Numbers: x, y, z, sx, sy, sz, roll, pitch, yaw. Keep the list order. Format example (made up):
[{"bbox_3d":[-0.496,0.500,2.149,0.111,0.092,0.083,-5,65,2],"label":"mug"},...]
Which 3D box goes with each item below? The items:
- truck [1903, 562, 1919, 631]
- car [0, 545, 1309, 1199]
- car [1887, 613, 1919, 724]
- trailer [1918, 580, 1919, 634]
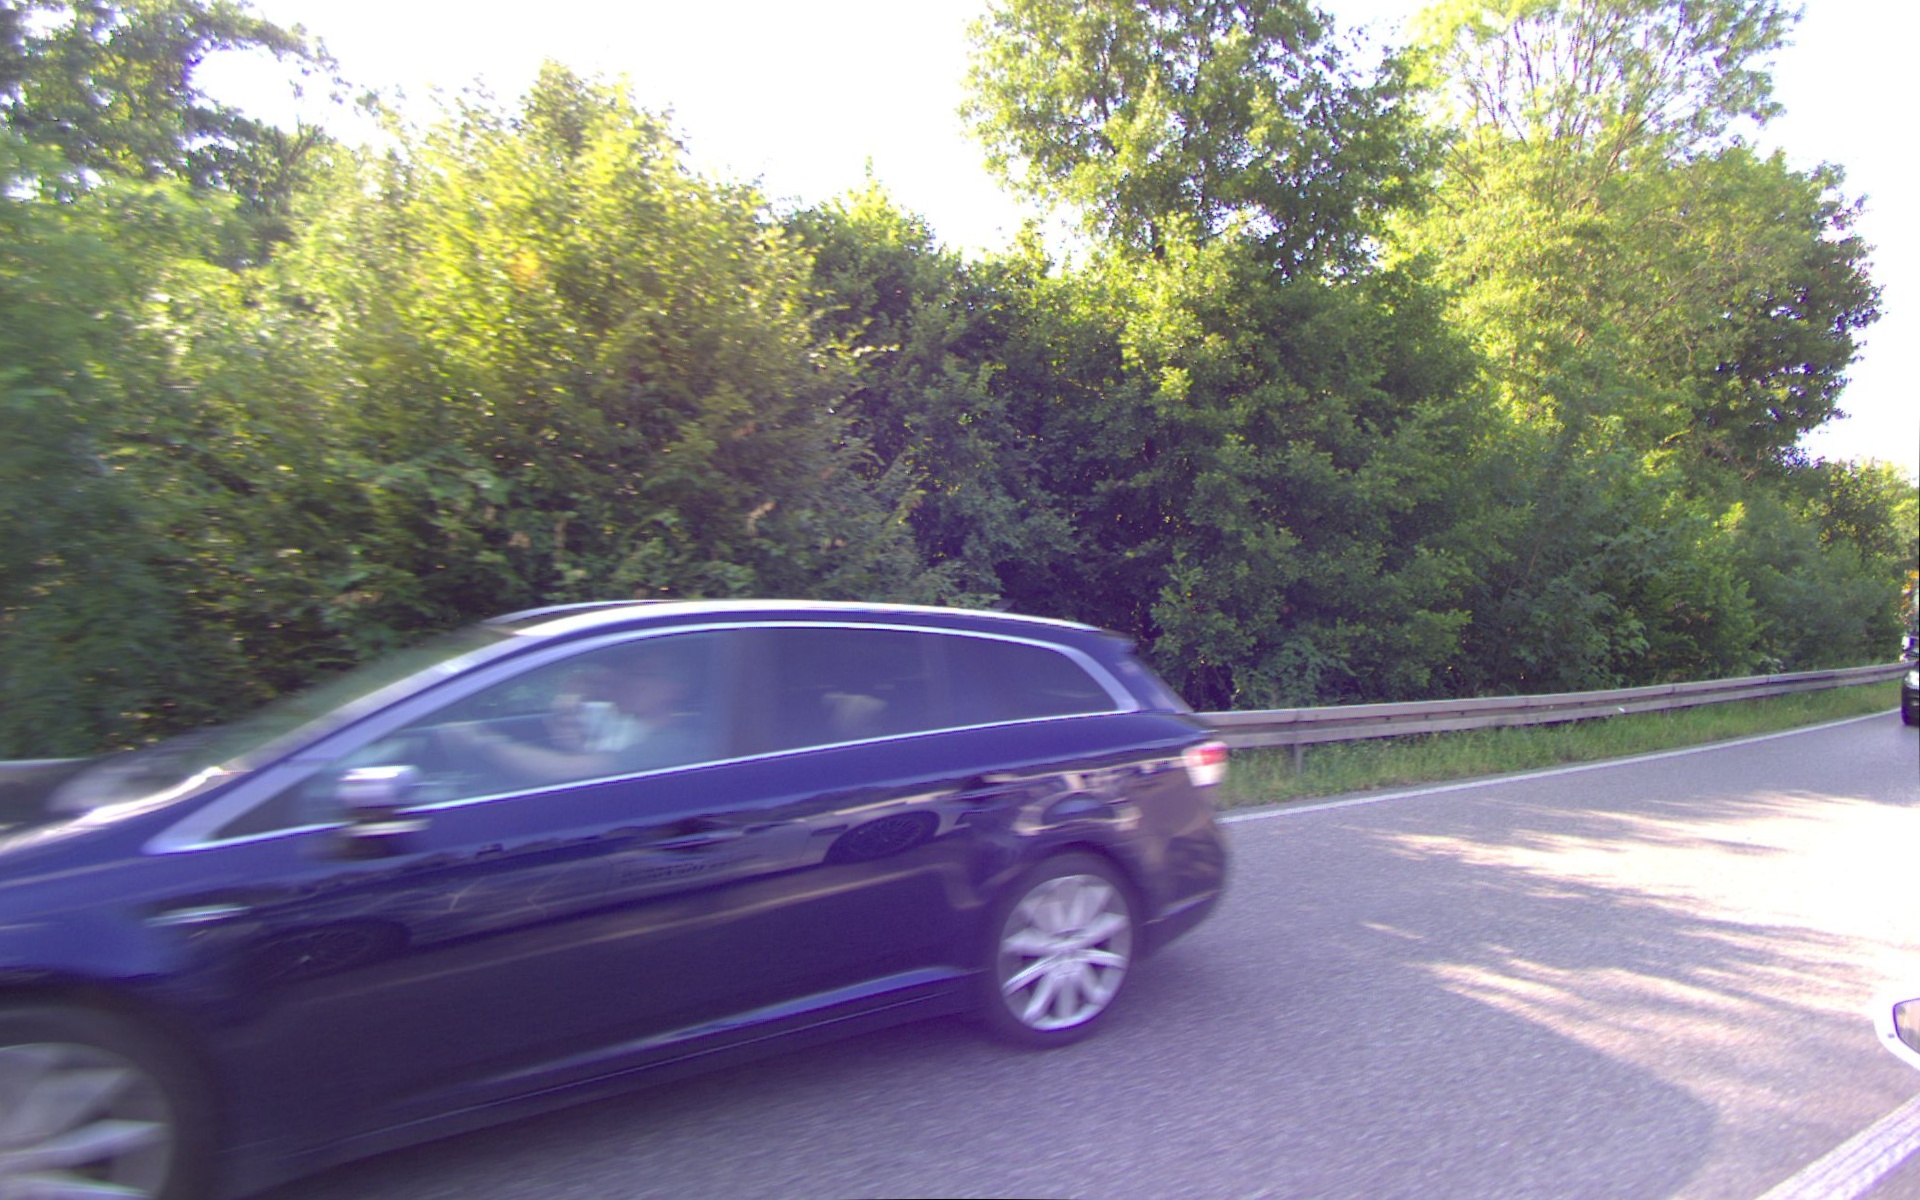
[{"bbox_3d":[59.037,-0.167,59.401,3.401,4.141,6.475,2,0,32],"label":"truck"},{"bbox_3d":[-0.984,0.691,3.502,4.354,1.528,1.840,1,0,-32],"label":"car"},{"bbox_3d":[15.868,1.033,15.395,4.212,1.610,1.853,1,-1,-39],"label":"car"},{"bbox_3d":[55.814,-0.326,53.883,3.494,4.573,12.956,2,0,31],"label":"trailer"}]
